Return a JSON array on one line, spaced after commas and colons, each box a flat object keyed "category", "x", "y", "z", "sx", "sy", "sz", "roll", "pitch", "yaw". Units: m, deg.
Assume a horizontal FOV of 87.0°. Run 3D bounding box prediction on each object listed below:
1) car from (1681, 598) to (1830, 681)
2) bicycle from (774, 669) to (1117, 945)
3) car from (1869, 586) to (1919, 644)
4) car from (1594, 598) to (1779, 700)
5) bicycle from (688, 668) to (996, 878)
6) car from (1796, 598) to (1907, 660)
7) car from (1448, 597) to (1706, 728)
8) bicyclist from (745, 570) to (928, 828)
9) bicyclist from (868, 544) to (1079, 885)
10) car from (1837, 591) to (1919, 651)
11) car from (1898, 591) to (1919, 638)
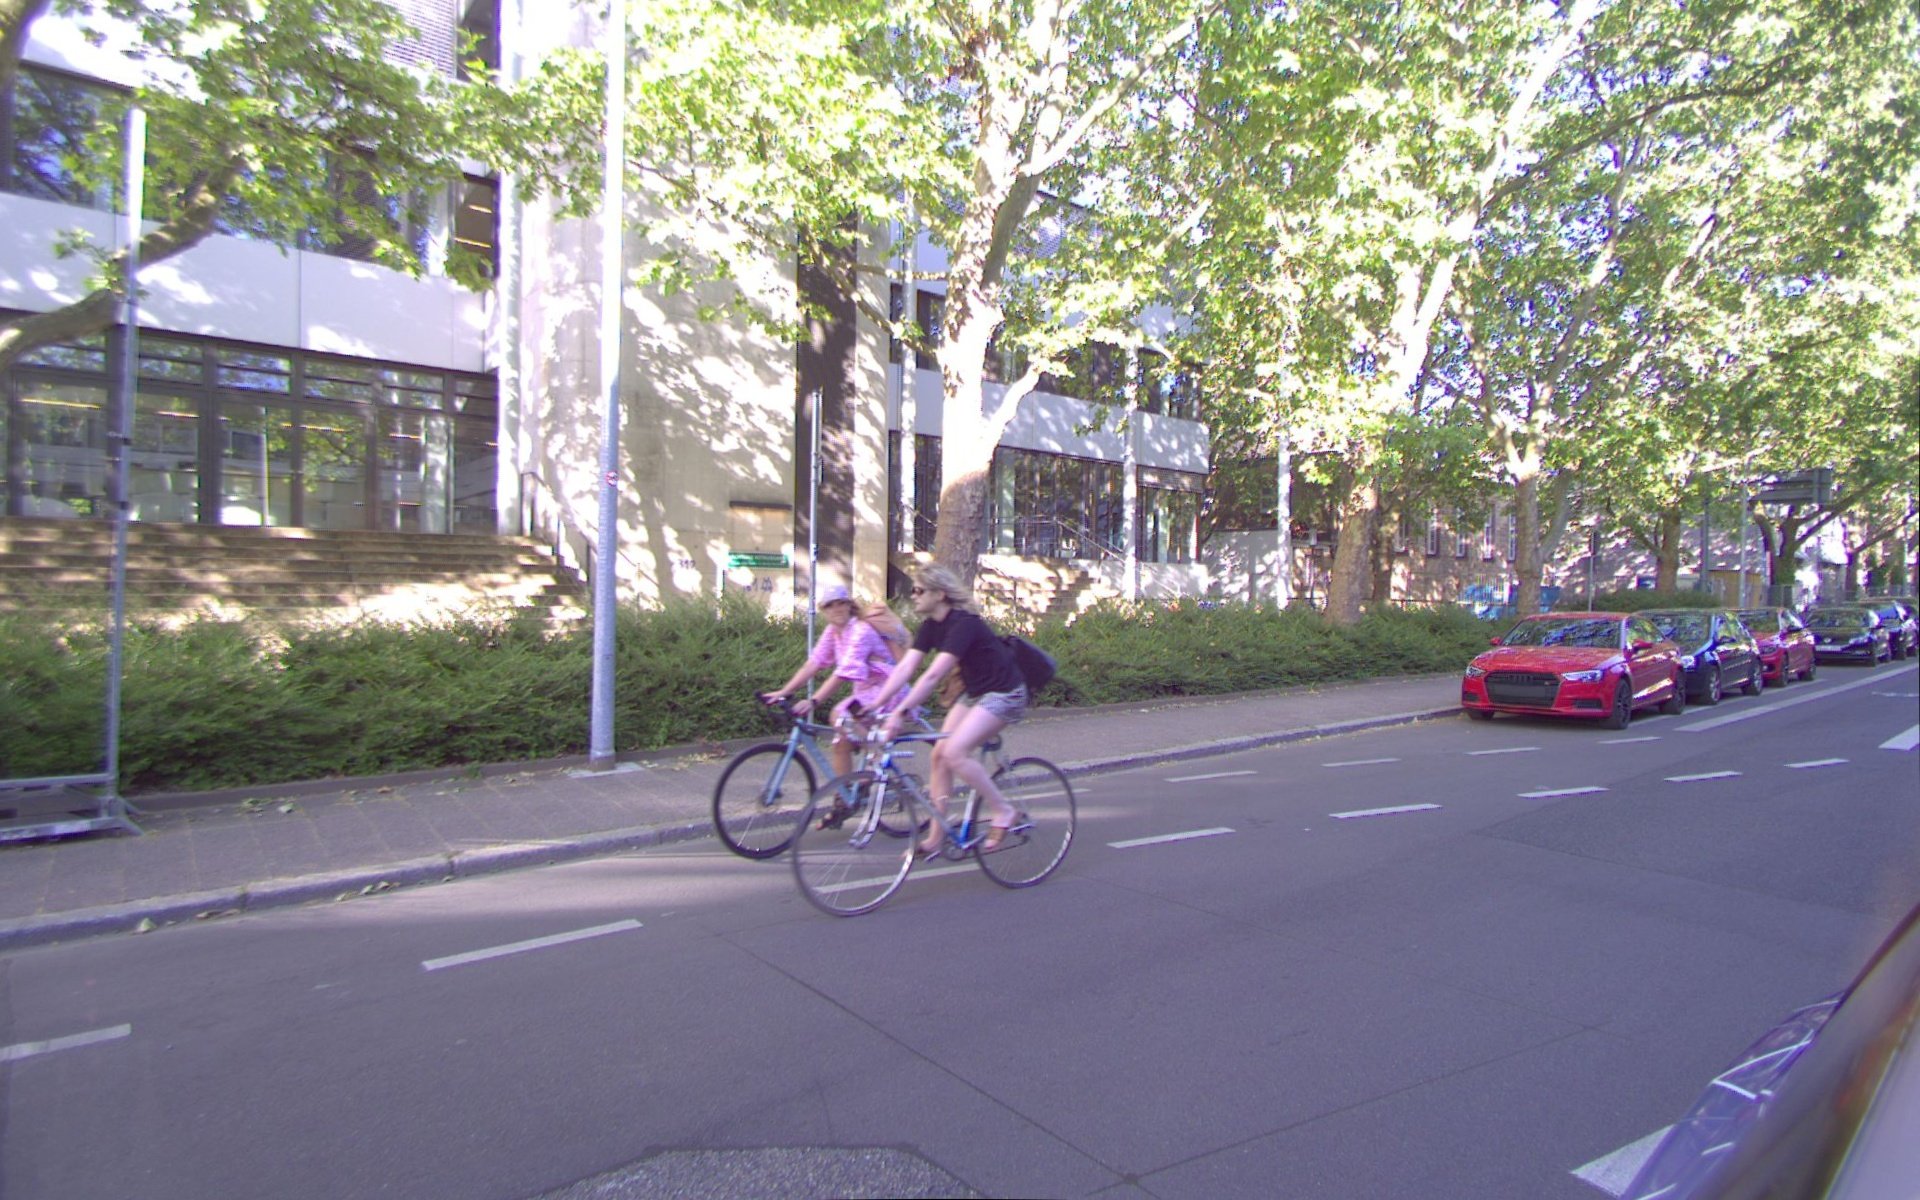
[{"category": "car", "x": 15.724, "y": 0.719, "z": 19.945, "sx": 3.674, "sy": 1.483, "sz": 1.634, "roll": 0, "pitch": -1, "yaw": -41}, {"category": "bicycle", "x": -0.018, "y": 0.910, "z": 4.994, "sx": 1.701, "sy": 1.039, "sz": 0.611, "roll": 0, "pitch": -1, "yaw": -41}, {"category": "car", "x": 31.041, "y": 0.469, "z": 32.963, "sx": 3.777, "sy": 1.828, "sz": 1.634, "roll": 0, "pitch": -1, "yaw": -41}, {"category": "car", "x": 11.929, "y": 0.714, "z": 16.547, "sx": 3.674, "sy": 1.483, "sz": 1.634, "roll": 0, "pitch": -1, "yaw": -41}, {"category": "bicycle", "x": -0.665, "y": 0.966, "z": 6.163, "sx": 1.848, "sy": 0.997, "sz": 0.601, "roll": 0, "pitch": -1, "yaw": -41}, {"category": "car", "x": 22.903, "y": 0.692, "z": 25.966, "sx": 3.674, "sy": 1.483, "sz": 1.634, "roll": 0, "pitch": -1, "yaw": -41}, {"category": "car", "x": 8.351, "y": 0.719, "z": 13.561, "sx": 4.053, "sy": 1.483, "sz": 1.802, "roll": 0, "pitch": -1, "yaw": -41}, {"category": "bicyclist", "x": -0.743, "y": 0.548, "z": 6.107, "sx": 0.915, "sy": 1.420, "sz": 0.601, "roll": 0, "pitch": -1, "yaw": -41}, {"category": "bicyclist", "x": 0.071, "y": 0.516, "z": 5.078, "sx": 0.874, "sy": 1.535, "sz": 0.611, "roll": 0, "pitch": -1, "yaw": -41}, {"category": "car", "x": 26.591, "y": 0.578, "z": 29.028, "sx": 3.777, "sy": 1.607, "sz": 1.634, "roll": 0, "pitch": -1, "yaw": -41}, {"category": "car", "x": 35.912, "y": 0.524, "z": 37.218, "sx": 3.777, "sy": 1.675, "sz": 1.634, "roll": 0, "pitch": -1, "yaw": -41}]
